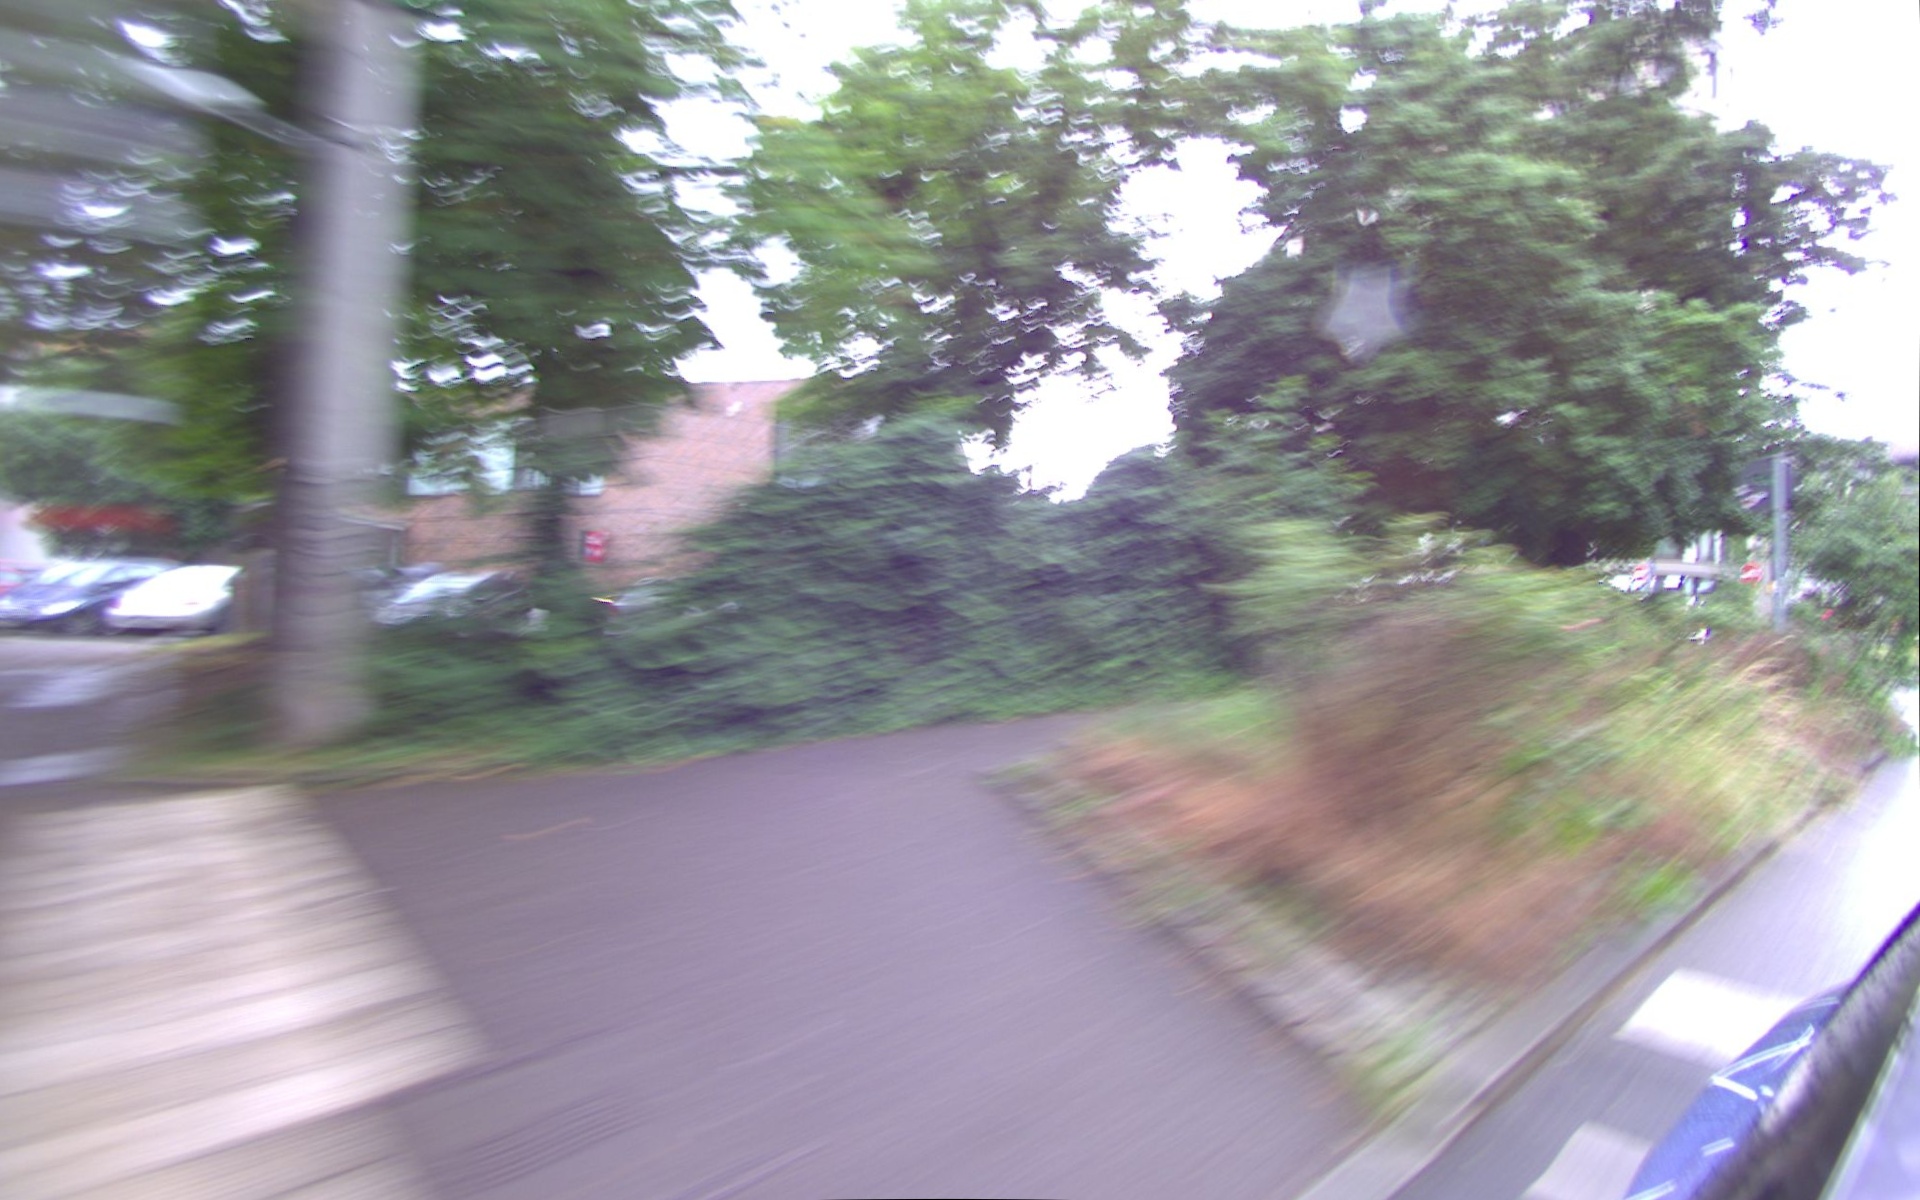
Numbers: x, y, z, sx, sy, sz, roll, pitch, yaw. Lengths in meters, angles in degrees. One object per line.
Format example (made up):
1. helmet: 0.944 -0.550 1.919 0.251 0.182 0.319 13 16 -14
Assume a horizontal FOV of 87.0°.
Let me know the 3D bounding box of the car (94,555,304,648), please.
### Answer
1. car: -15.913 -0.025 21.458 1.958 1.750 4.008 1 1 -10

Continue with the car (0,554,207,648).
1. car: -18.172 -0.042 21.298 1.959 1.750 4.126 1 1 -8

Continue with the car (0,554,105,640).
1. car: -20.547 -0.097 21.174 1.961 1.750 4.123 1 1 -3
